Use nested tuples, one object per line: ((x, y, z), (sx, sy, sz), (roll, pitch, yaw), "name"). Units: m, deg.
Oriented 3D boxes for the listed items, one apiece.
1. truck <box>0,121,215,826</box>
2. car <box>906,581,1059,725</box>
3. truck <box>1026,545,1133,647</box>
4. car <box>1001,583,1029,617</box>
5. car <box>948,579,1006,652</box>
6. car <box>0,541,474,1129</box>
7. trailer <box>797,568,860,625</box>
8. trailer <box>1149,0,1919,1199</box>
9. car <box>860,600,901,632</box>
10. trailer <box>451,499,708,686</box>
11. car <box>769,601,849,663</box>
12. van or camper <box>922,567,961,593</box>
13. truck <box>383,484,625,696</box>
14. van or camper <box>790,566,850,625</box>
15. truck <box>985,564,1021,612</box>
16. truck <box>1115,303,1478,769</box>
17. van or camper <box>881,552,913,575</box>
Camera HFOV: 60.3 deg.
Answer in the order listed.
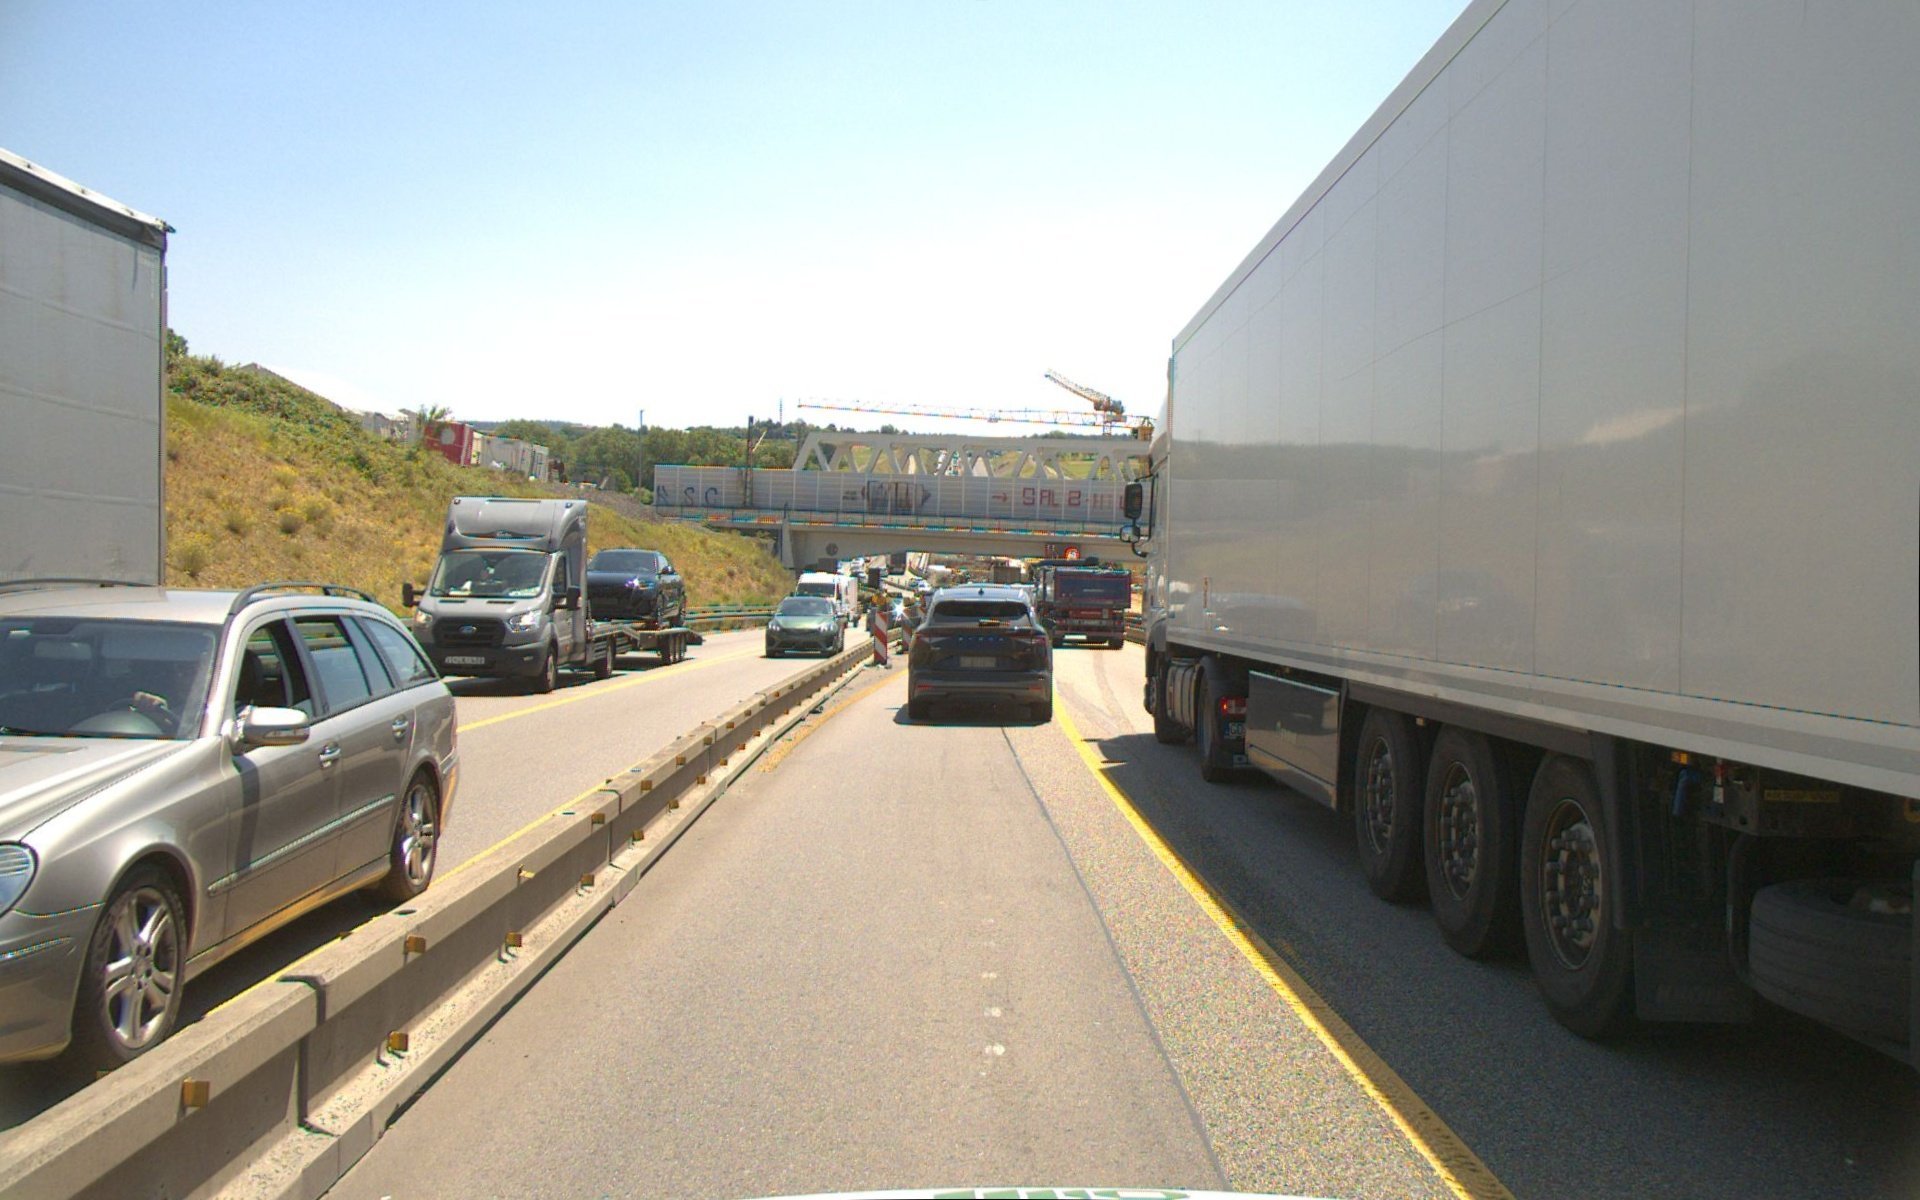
((-6.958, -0.746, 5.675), (2.711, 4.159, 13.803), (1, 0, -1), "truck")
((0.234, 0.619, 21.047), (1.764, 1.649, 3.296), (1, 0, -1), "car")
((4.054, -0.151, 58.841), (2.756, 3.189, 12.836), (1, 0, 0), "truck")
((3.936, -0.023, 118.646), (1.628, 2.309, 3.795), (2, 0, -2), "car")
((0.482, 0.392, 44.532), (1.444, 1.826, 3.298), (2, 0, 1), "car")
((-3.347, 0.584, 6.330), (1.789, 1.513, 4.195), (1, 0, -1), "car")
((-6.142, -0.144, 78.324), (2.170, 2.524, 8.527), (1, 0, 1), "trailer")
((3.289, -0.513, 9.227), (2.744, 4.129, 14.115), (1, 0, 0), "trailer")
((-3.402, 0.664, 71.135), (1.577, 1.298, 3.167), (1, 0, 1), "car")
((-7.059, -0.135, 32.902), (2.222, 2.932, 13.040), (1, 0, -1), "trailer")
((-3.766, 0.772, 41.780), (1.632, 1.453, 4.000), (0, 0, 0), "car")
((-2.627, -2.759, 228.109), (3.873, 3.479, 8.383), (1, 1, -11), "van or camper")
((-6.982, -0.144, 26.093), (2.222, 2.932, 5.850), (1, 0, -1), "truck")
((-6.217, -0.188, 73.897), (2.170, 2.524, 4.751), (1, 0, 1), "van or camper")
((4.060, -1.118, 158.879), (3.111, 4.393, 9.257), (1, 0, 0), "truck")
((3.245, -0.576, 17.266), (2.720, 4.129, 4.904), (1, 0, 0), "truck")
((-10.062, -5.734, 262.861), (3.873, 3.479, 8.383), (1, 1, -11), "van or camper")
